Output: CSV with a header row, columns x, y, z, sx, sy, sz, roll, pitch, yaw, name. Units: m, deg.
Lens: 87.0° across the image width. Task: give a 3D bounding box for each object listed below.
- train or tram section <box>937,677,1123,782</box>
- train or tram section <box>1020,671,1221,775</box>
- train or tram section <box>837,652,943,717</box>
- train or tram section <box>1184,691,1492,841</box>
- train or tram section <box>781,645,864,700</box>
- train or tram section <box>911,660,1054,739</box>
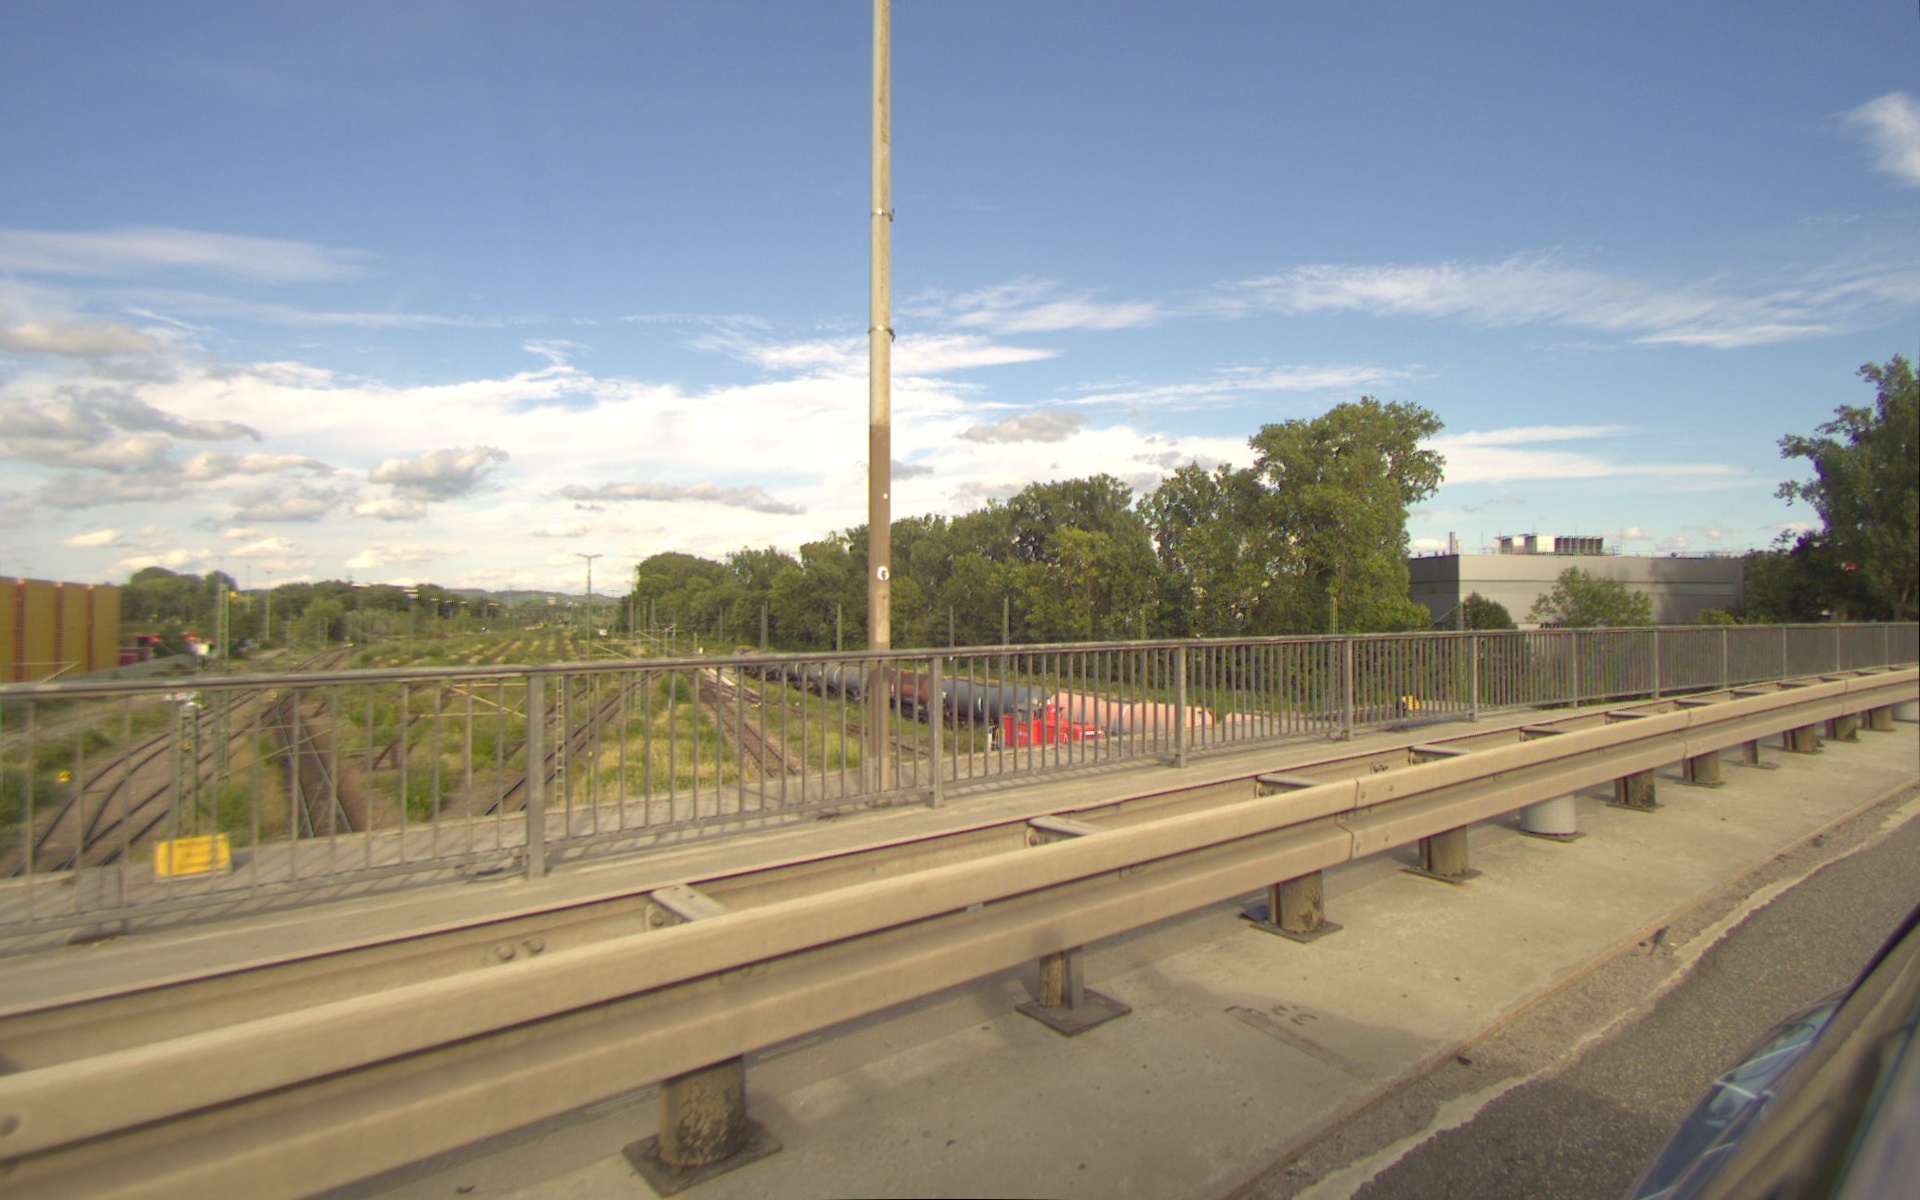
x,y,z,sx,sy,sz,roll,pitch,yaw,name
3.946,8.017,66.081,3.035,4.196,17.325,0,2,-30,train or tram section
10.041,7.759,67.256,3.036,4.772,16.761,0,1,-31,train or tram section
-6.993,7.730,96.057,3.034,4.772,16.766,0,0,-30,train or tram section
18.804,8.106,52.949,3.036,4.771,16.765,0,2,-31,train or tram section
-15.320,7.697,110.671,3.034,4.772,16.766,0,0,-30,train or tram section
1.371,7.710,81.576,3.035,4.772,16.762,0,0,-31,train or tram section
